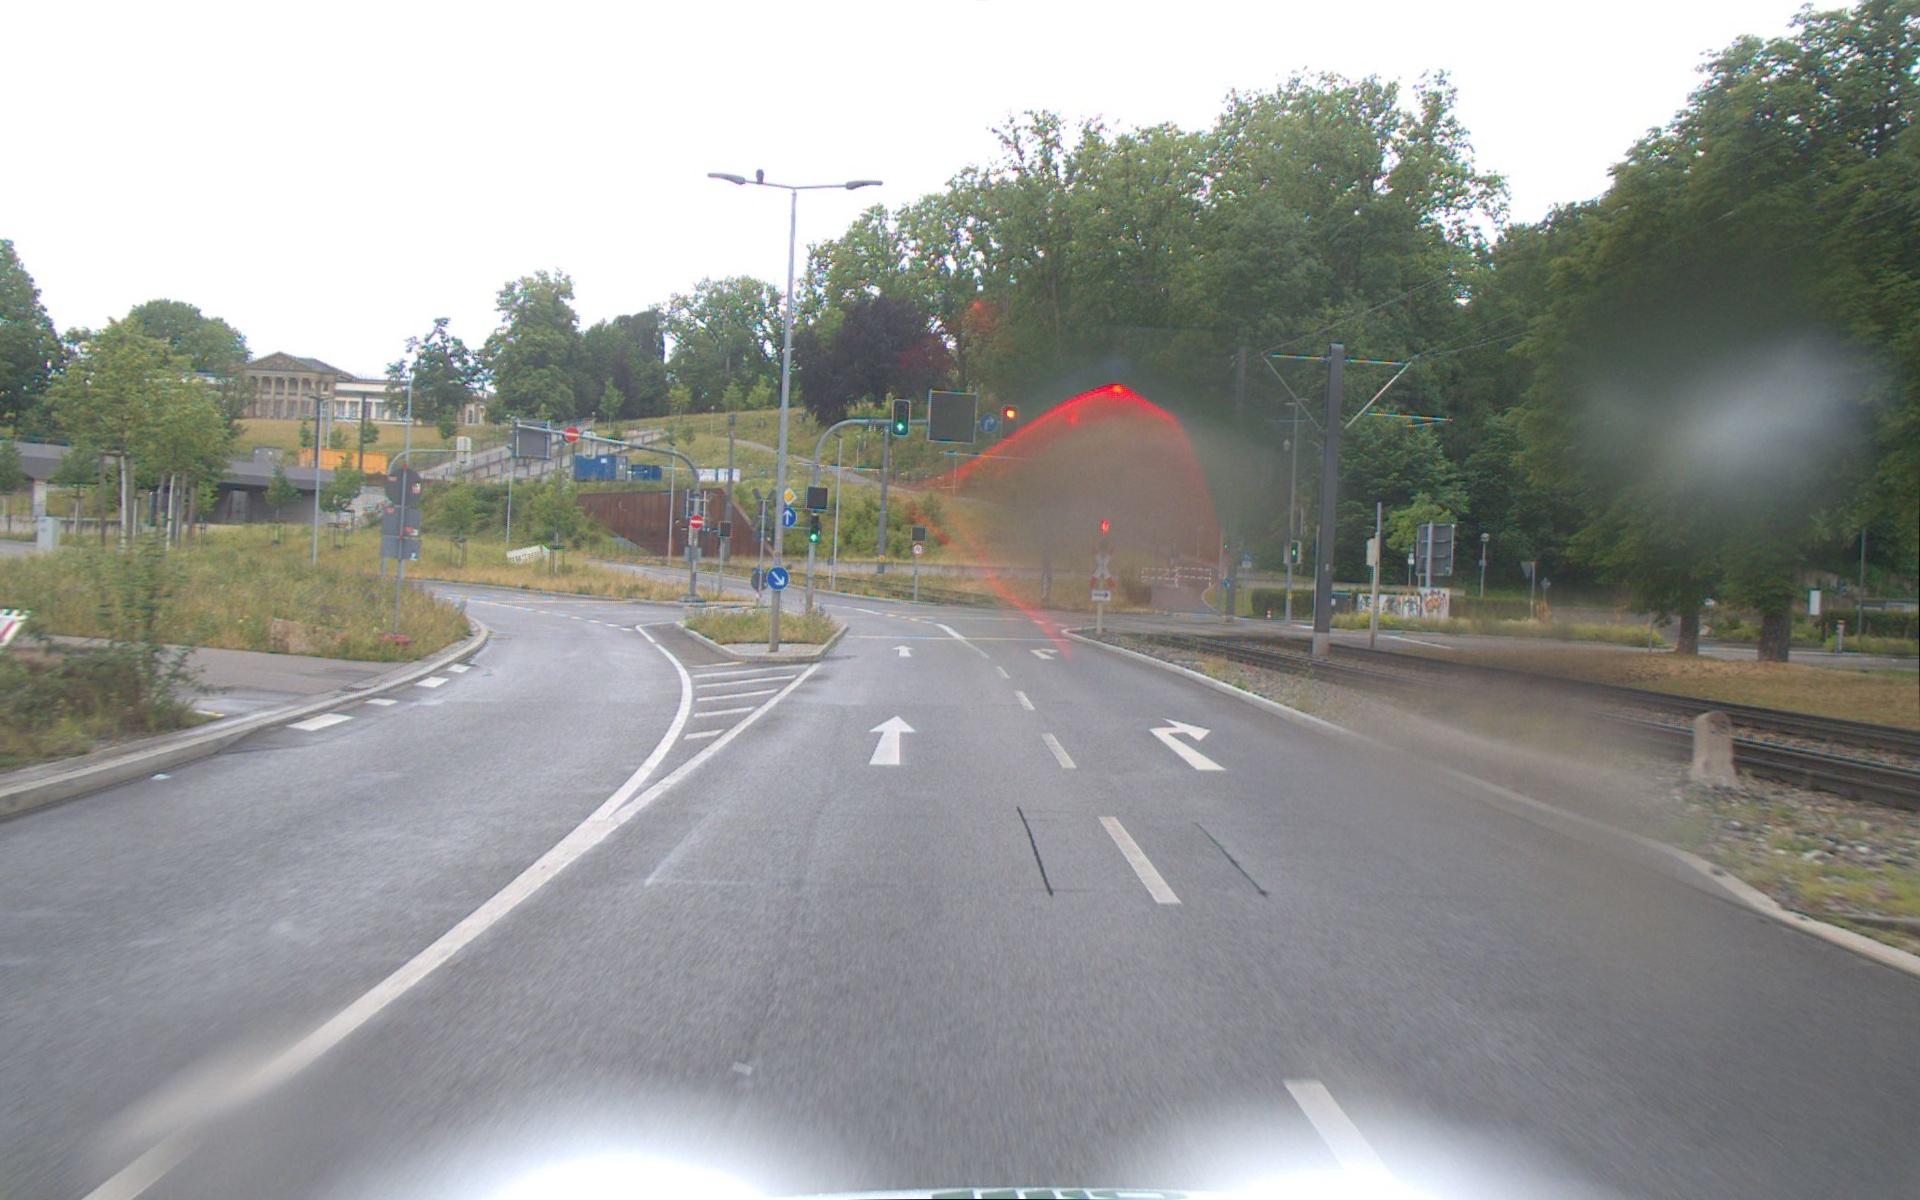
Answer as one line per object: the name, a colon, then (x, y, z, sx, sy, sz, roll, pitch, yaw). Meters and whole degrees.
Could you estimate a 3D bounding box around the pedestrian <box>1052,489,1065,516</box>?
pedestrian: (7.453, -7.393, 125.557, 0.776, 2.047, 0.654, -2, 6, -17)

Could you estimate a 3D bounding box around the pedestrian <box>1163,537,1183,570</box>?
pedestrian: (12.403, -2.717, 96.383, 0.937, 1.812, 1.124, 5, 1, 11)
